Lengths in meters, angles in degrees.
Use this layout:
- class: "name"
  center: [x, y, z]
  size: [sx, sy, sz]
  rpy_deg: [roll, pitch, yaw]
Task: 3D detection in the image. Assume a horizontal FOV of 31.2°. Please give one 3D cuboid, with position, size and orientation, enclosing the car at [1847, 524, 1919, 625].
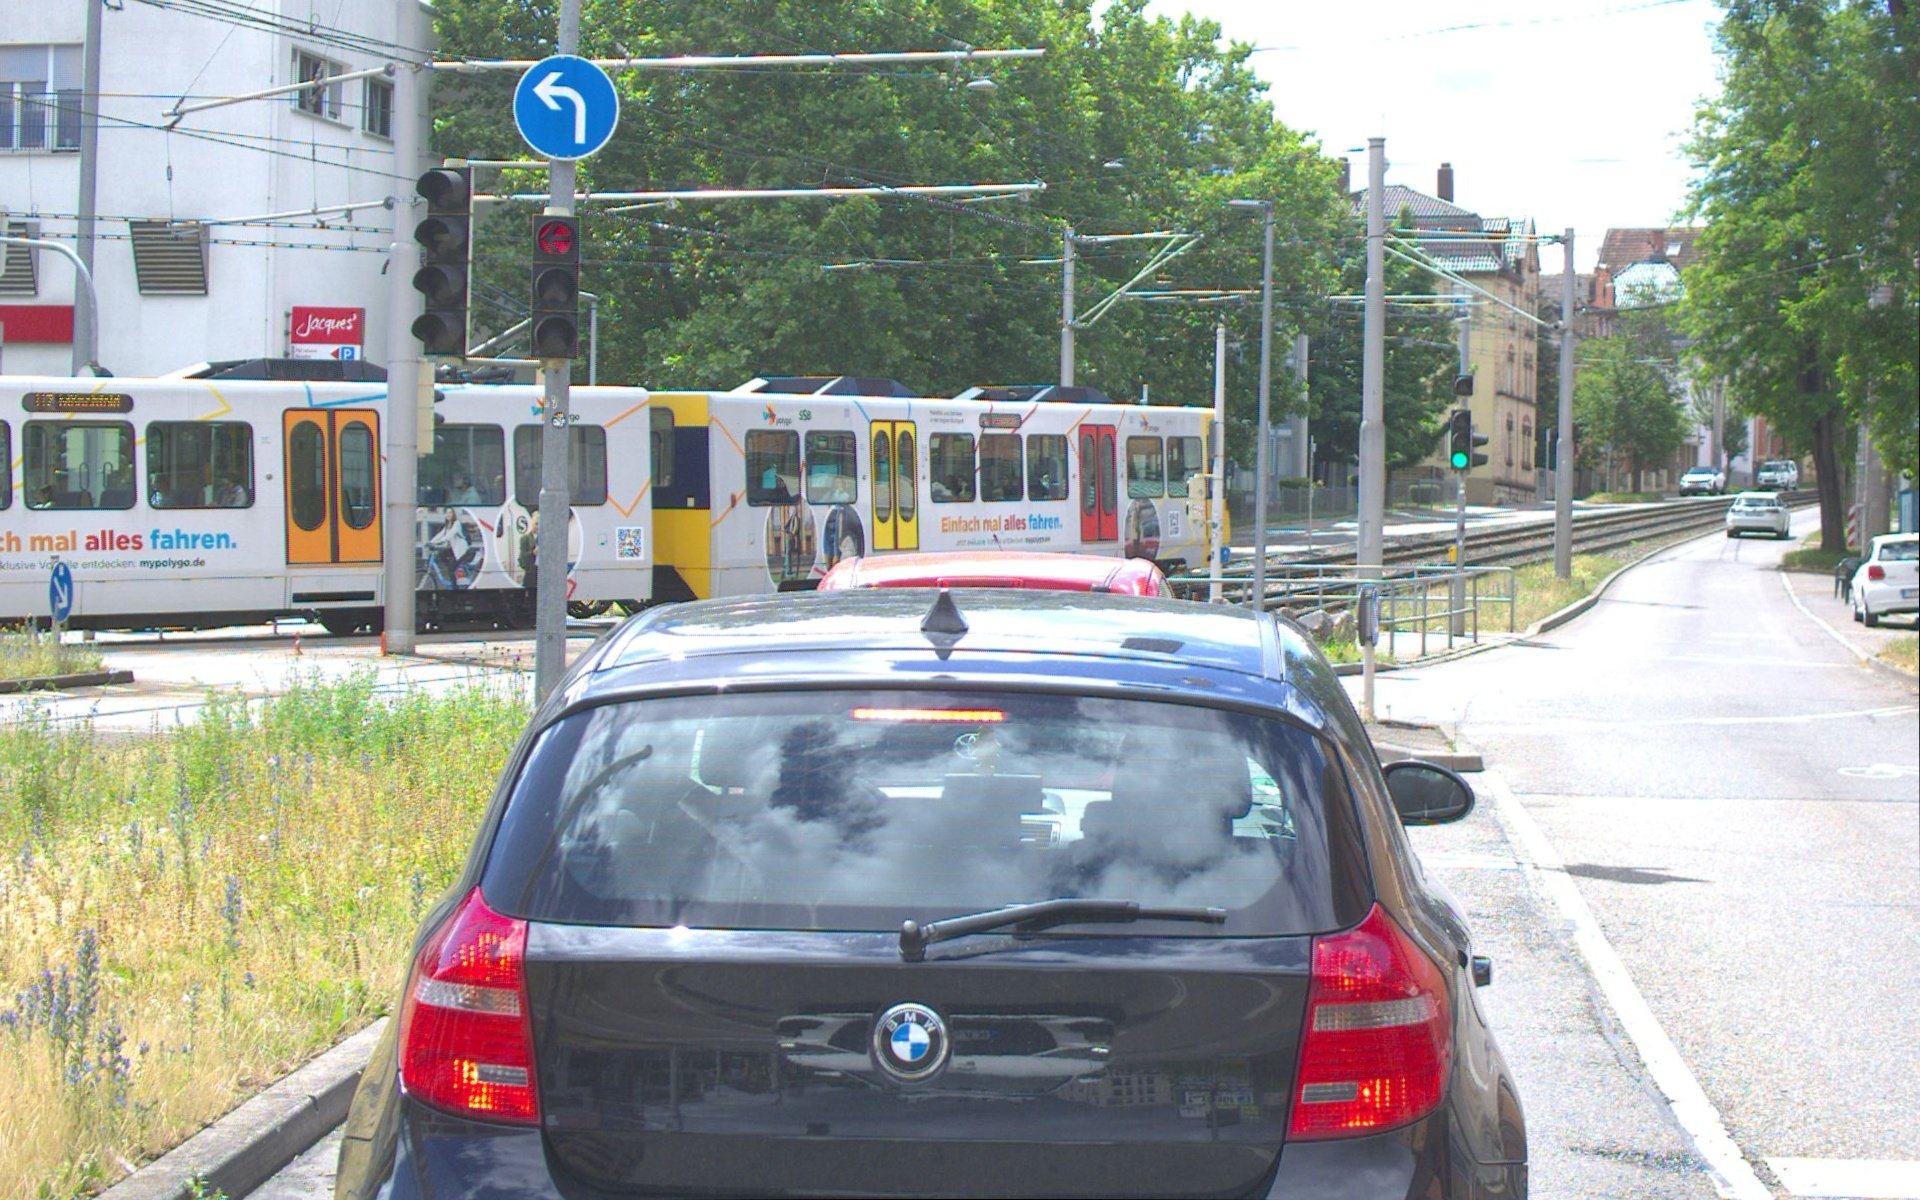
- class: "car"
  center: [15.403, -0.412, 55.841]
  size: [1.788, 1.590, 3.998]
  rpy_deg: [0, 0, 13]

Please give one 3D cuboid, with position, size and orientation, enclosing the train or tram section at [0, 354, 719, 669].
- class: "train or tram section"
  center: [-12.500, -1.090, 44.183]
  size: [20.576, 3.866, 3.760]
  rpy_deg: [-1, 0, -41]

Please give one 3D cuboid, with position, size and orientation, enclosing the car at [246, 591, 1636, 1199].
- class: "car"
  center: [-0.110, 0.714, 6.213]
  size: [1.701, 1.447, 4.000]
  rpy_deg: [0, 0, -3]

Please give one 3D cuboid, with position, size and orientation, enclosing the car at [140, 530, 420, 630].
- class: "car"
  center: [-11.170, -0.330, 56.589]
  size: [4.158, 1.579, 1.858]
  rpy_deg: [-1, 0, -43]

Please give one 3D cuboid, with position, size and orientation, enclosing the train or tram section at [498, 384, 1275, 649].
- class: "train or tram section"
  center: [-0.377, -1.258, 59.001]
  size: [3.755, 3.801, 20.019]
  rpy_deg: [0, 0, 29]

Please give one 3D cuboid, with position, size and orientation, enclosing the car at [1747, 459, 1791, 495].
- class: "car"
  center: [48.731, -7.384, 207.038]
  size: [1.996, 2.007, 3.996]
  rpy_deg: [0, 0, 21]

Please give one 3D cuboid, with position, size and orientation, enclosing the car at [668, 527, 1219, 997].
- class: "car"
  center: [0.092, 0.504, 12.815]
  size: [1.625, 1.468, 3.999]
  rpy_deg: [0, 0, 6]

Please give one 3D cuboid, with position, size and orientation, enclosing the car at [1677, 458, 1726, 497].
- class: "car"
  center: [40.498, -6.678, 187.739]
  size: [1.996, 2.007, 3.996]
  rpy_deg: [0, 0, 21]

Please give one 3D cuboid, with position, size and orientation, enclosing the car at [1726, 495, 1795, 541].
- class: "car"
  center: [26.252, -2.687, 112.623]
  size: [1.817, 1.463, 3.996]
  rpy_deg: [0, 1, 19]
